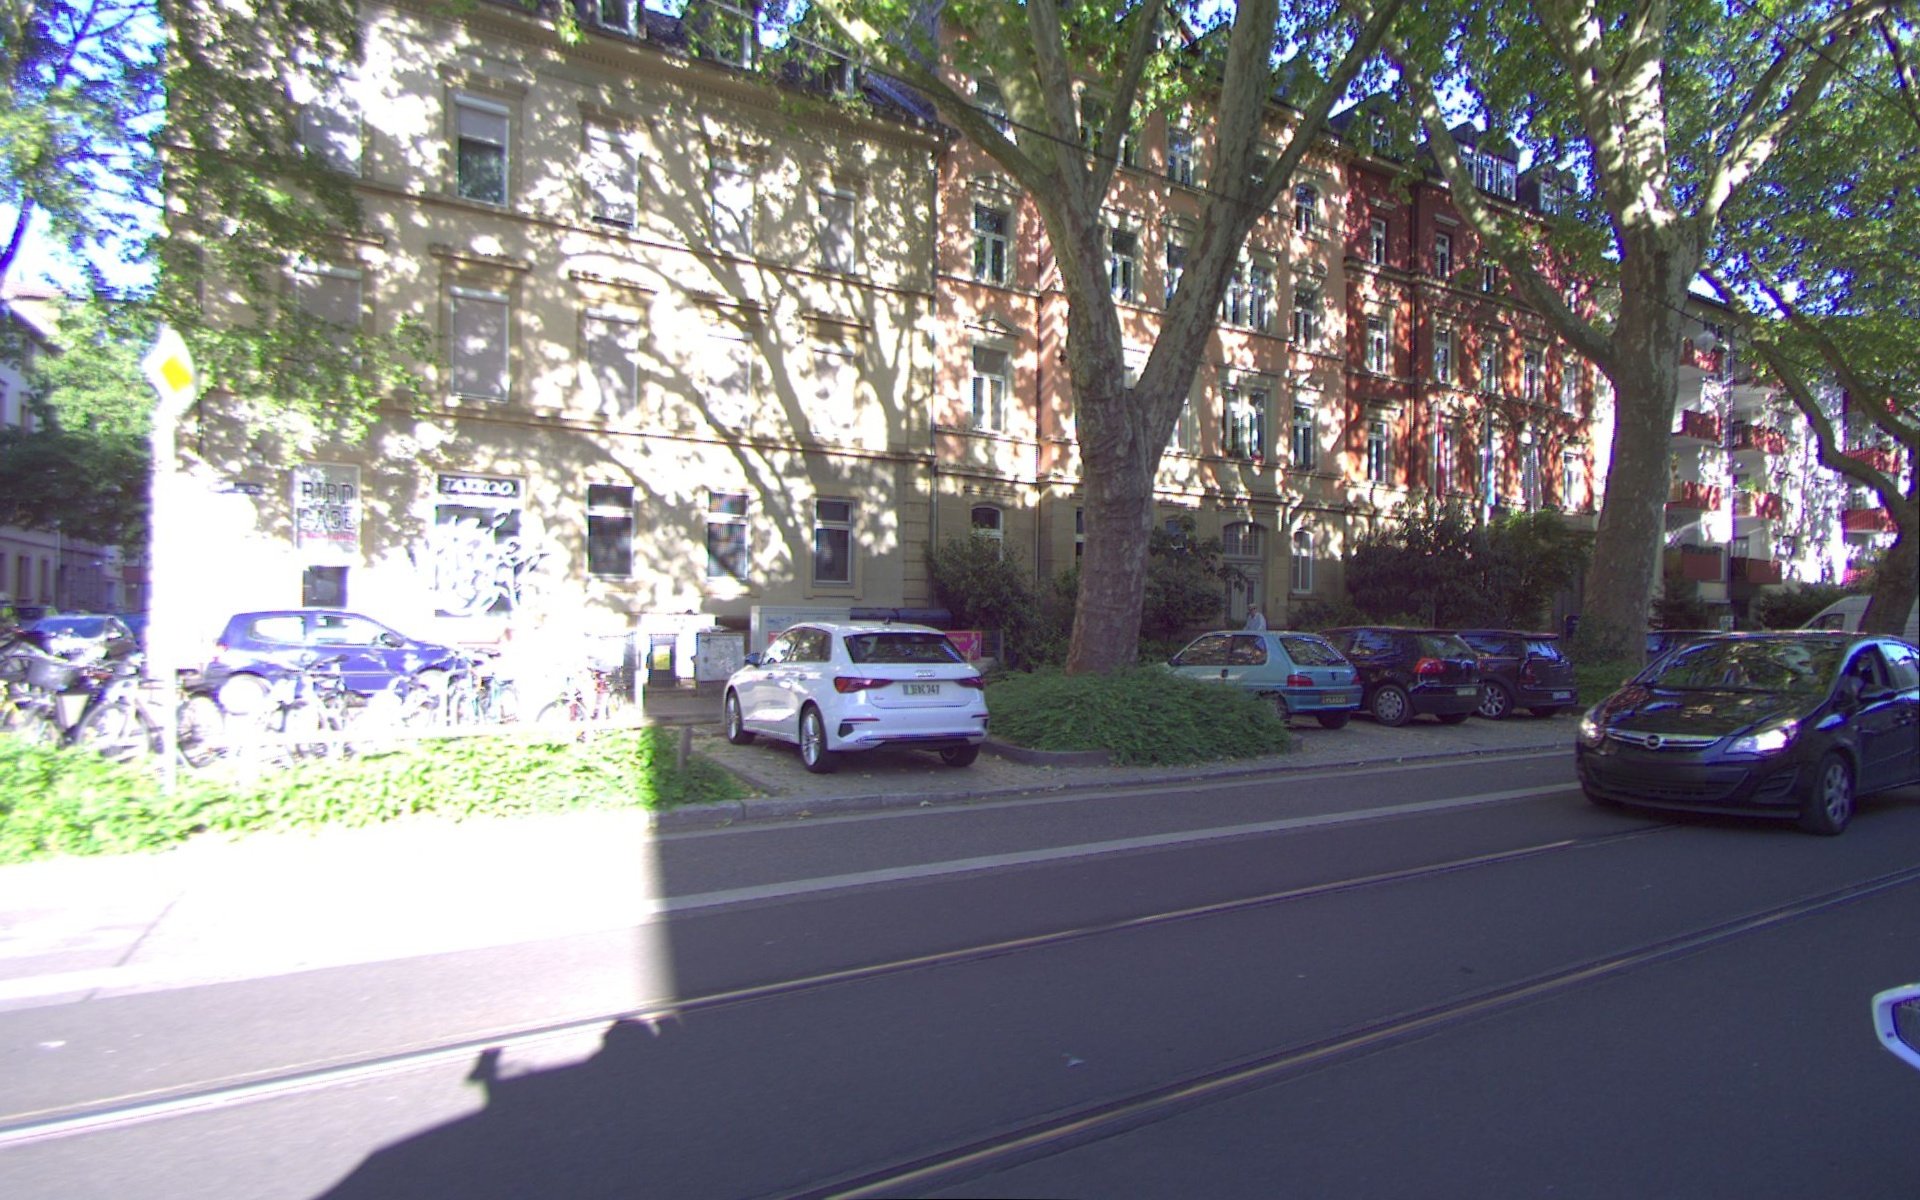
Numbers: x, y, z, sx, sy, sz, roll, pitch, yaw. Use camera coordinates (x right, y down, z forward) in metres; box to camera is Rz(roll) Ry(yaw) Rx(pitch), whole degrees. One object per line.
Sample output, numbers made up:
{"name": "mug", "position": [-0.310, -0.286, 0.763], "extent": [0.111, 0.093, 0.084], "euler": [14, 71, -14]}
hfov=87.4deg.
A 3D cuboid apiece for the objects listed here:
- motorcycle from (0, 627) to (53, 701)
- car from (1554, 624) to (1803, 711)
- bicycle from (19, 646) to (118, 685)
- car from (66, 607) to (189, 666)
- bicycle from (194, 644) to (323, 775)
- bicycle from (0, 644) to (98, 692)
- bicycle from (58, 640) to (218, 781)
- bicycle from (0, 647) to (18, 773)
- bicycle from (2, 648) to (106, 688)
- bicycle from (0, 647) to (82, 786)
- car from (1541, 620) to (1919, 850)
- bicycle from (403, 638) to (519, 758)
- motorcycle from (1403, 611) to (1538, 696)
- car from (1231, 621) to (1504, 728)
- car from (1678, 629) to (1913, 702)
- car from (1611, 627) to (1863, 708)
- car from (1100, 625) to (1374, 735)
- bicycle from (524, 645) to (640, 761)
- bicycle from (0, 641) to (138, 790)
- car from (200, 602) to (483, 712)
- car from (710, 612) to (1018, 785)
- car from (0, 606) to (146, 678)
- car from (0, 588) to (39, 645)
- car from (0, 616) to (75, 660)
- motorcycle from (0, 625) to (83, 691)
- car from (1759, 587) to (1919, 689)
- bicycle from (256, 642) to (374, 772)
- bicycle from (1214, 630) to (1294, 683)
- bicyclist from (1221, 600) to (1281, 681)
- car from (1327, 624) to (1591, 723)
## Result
{"name": "motorcycle", "position": [-17.085, 1.107, 17.456], "extent": [1.850, 1.278, 0.586], "euler": [1, -1, -25]}
{"name": "car", "position": [14.495, 1.291, 20.483], "extent": [1.683, 1.480, 3.777], "euler": [1, 0, -28]}
{"name": "bicycle", "position": [-17.942, 1.305, 20.244], "extent": [1.435, 0.742, 0.395], "euler": [1, -1, -29]}
{"name": "car", "position": [-21.974, 0.928, 26.677], "extent": [1.735, 1.429, 3.886], "euler": [1, -1, -28]}
{"name": "bicycle", "position": [-6.648, 0.994, 9.591], "extent": [0.389, 1.102, 1.560], "euler": [1, -1, -11]}
{"name": "bicycle", "position": [-17.442, 1.281, 19.156], "extent": [1.435, 0.871, 0.395], "euler": [1, -1, -29]}
{"name": "bicycle", "position": [-7.266, 0.931, 8.960], "extent": [0.389, 1.102, 1.560], "euler": [1, -1, -11]}
{"name": "bicycle", "position": [-8.516, 0.956, 8.218], "extent": [0.389, 1.102, 1.560], "euler": [1, -1, -11]}
{"name": "bicycle", "position": [-17.734, 1.316, 19.689], "extent": [1.435, 0.742, 0.395], "euler": [1, -1, -29]}
{"name": "bicycle", "position": [-8.087, 0.971, 8.382], "extent": [0.389, 1.102, 1.560], "euler": [1, -1, -11]}
{"name": "car", "position": [6.767, 0.957, 8.446], "extent": [3.680, 1.530, 1.709], "euler": [1, -1, -31]}
{"name": "bicycle", "position": [-5.189, 0.972, 10.562], "extent": [0.587, 1.102, 1.921], "euler": [1, -1, -11]}
{"name": "motorcycle", "position": [10.836, 1.119, 21.285], "extent": [2.976, 1.653, 1.047], "euler": [2, 1, -30]}
{"name": "car", "position": [6.477, 1.116, 16.405], "extent": [1.748, 1.479, 3.972], "euler": [1, -1, -27]}
{"name": "car", "position": [18.927, 1.427, 22.943], "extent": [1.682, 1.451, 3.794], "euler": [1, -1, -27]}
{"name": "car", "position": [16.702, 1.389, 21.812], "extent": [1.808, 1.516, 3.970], "euler": [1, -1, -28]}
{"name": "car", "position": [4.035, 1.097, 15.235], "extent": [1.588, 1.387, 3.964], "euler": [1, -1, -33]}
{"name": "bicycle", "position": [-3.939, 1.036, 10.609], "extent": [0.585, 1.057, 1.806], "euler": [1, -1, -2]}
{"name": "bicycle", "position": [-7.657, 0.921, 8.482], "extent": [0.389, 1.102, 1.560], "euler": [1, -1, -11]}
{"name": "car", "position": [-9.225, 0.812, 15.189], "extent": [3.452, 1.479, 1.590], "euler": [1, -1, -33]}
{"name": "car", "position": [-1.231, 0.886, 10.869], "extent": [1.857, 1.479, 3.968], "euler": [1, -1, -30]}
{"name": "car", "position": [-19.856, 0.902, 22.607], "extent": [1.735, 1.483, 3.374], "euler": [1, -1, -28]}
{"name": "car", "position": [-32.351, 0.535, 33.369], "extent": [1.735, 1.812, 3.374], "euler": [1, -1, -28]}
{"name": "car", "position": [-34.629, 1.384, 37.471], "extent": [1.596, 1.514, 3.583], "euler": [1, -1, -28]}
{"name": "motorcycle", "position": [-15.950, 0.959, 16.863], "extent": [1.825, 1.086, 0.524], "euler": [2, -1, -43]}
{"name": "car", "position": [24.870, 0.963, 26.368], "extent": [2.136, 2.570, 5.716], "euler": [1, 0, -29]}
{"name": "bicycle", "position": [-6.170, 0.980, 9.677], "extent": [0.389, 1.102, 1.560], "euler": [1, -1, -11]}
{"name": "bicycle", "position": [6.701, 1.275, 22.884], "extent": [1.759, 1.154, 0.738], "euler": [1, -1, -30]}
{"name": "bicyclist", "position": [6.587, 0.913, 22.761], "extent": [1.036, 1.786, 0.826], "euler": [1, -1, -30]}
{"name": "car", "position": [8.607, 1.193, 17.689], "extent": [1.682, 1.479, 3.972], "euler": [1, -1, -27]}
